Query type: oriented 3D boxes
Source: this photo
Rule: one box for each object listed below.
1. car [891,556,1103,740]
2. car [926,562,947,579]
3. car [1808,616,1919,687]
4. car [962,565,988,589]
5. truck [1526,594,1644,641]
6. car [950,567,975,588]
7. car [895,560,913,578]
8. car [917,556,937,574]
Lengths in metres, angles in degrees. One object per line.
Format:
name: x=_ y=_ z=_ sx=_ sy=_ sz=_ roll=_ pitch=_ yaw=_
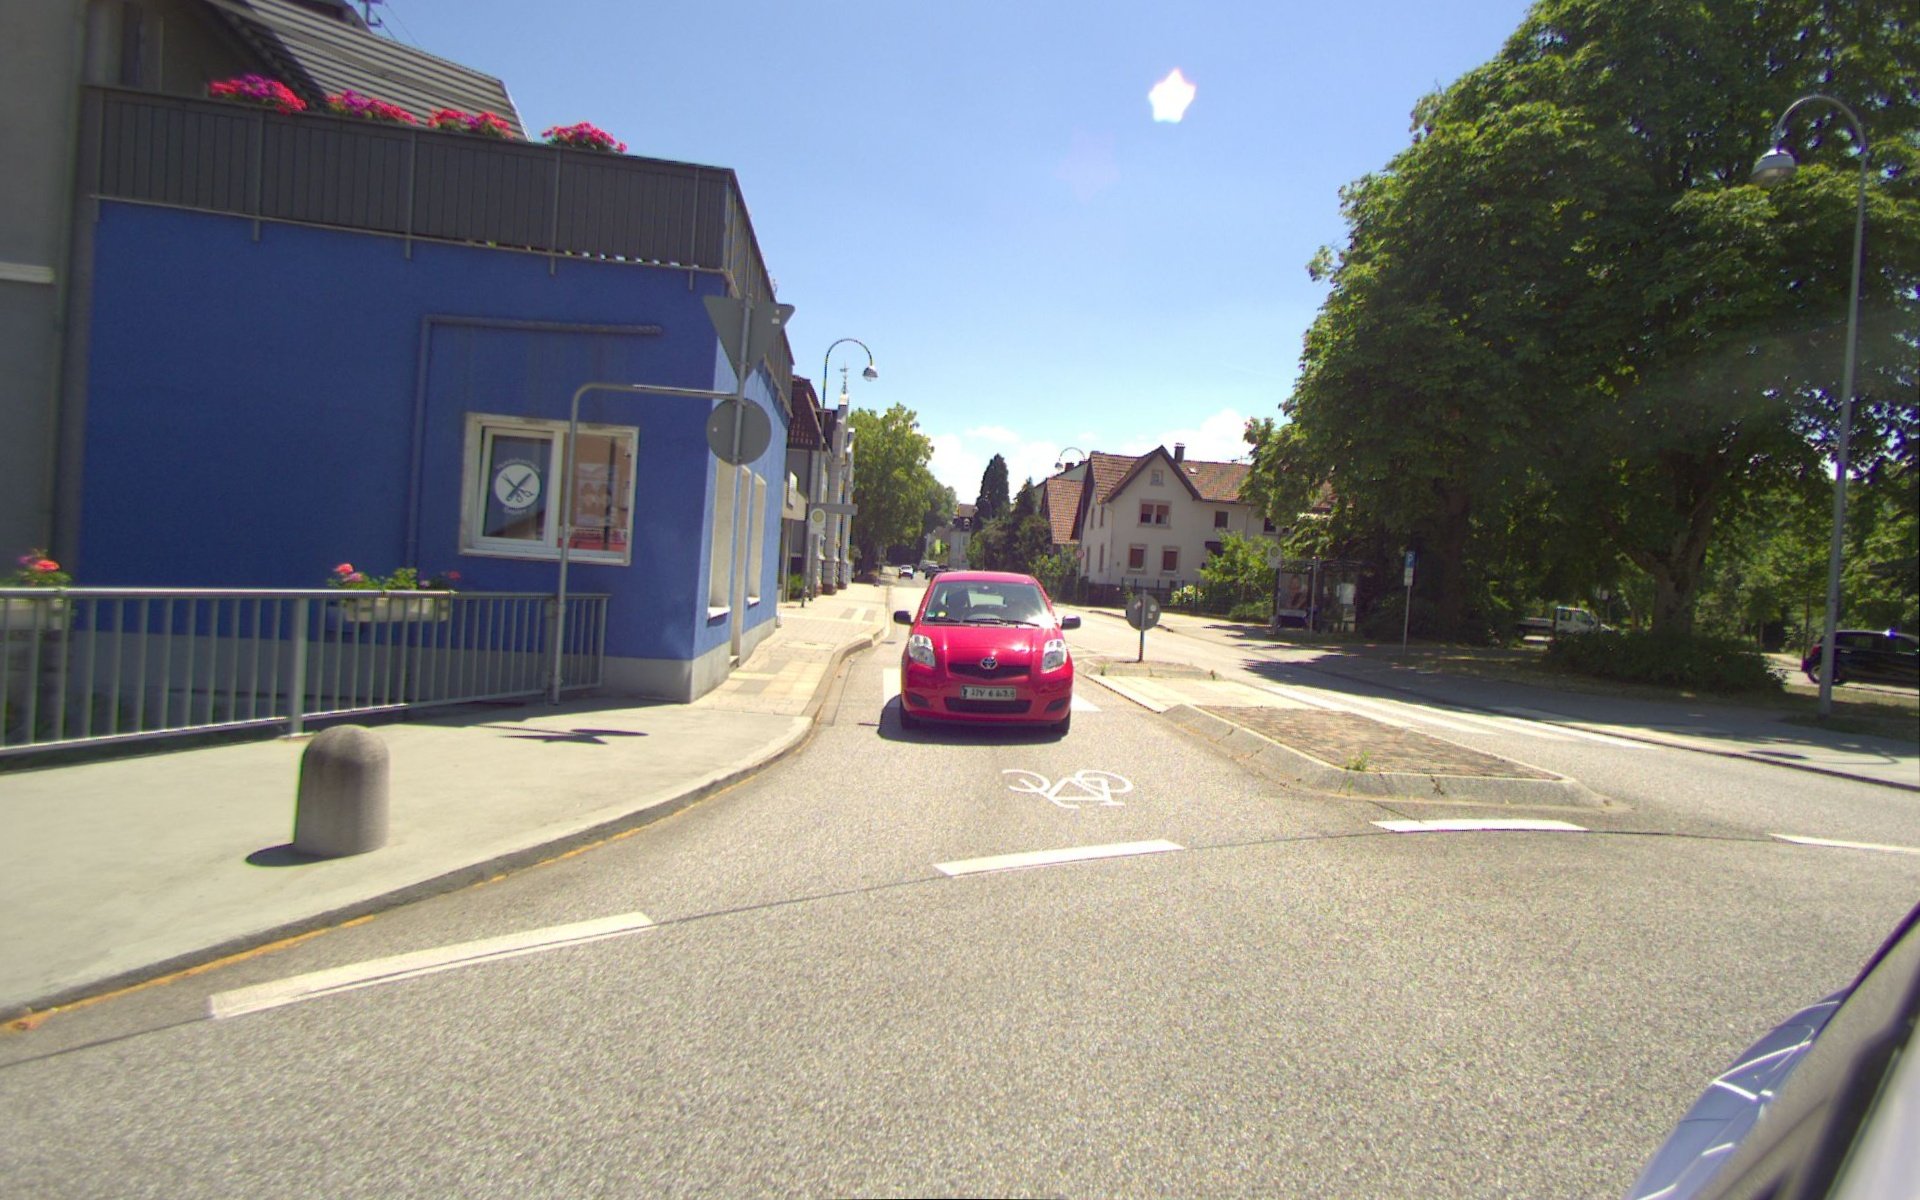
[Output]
car: x=0.274 y=0.355 z=10.701 sx=1.799 sy=1.552 sz=4.002 roll=1 pitch=2 yaw=-1
car: x=-2.552 y=-3.178 z=109.884 sx=1.704 sy=1.727 sz=4.005 roll=3 pitch=0 yaw=-8
car: x=24.752 y=1.399 z=26.099 sx=1.807 sy=1.621 sz=4.003 roll=3 pitch=2 yaw=-35
car: x=1.414 y=-2.179 z=96.970 sx=1.960 sy=2.039 sz=4.004 roll=5 pitch=0 yaw=-5
truck: x=39.876 y=1.109 z=64.797 sx=6.163 sy=2.474 sz=2.242 roll=5 pitch=-1 yaw=28
car: x=0.251 y=-2.363 z=107.896 sx=1.959 sy=2.039 sz=4.006 roll=5 pitch=0 yaw=-8
car: x=-7.158 y=-3.913 z=128.816 sx=1.960 sy=2.039 sz=4.004 roll=5 pitch=0 yaw=-5
car: x=-4.237 y=-4.458 z=128.384 sx=1.959 sy=2.039 sz=4.006 roll=5 pitch=0 yaw=-8
